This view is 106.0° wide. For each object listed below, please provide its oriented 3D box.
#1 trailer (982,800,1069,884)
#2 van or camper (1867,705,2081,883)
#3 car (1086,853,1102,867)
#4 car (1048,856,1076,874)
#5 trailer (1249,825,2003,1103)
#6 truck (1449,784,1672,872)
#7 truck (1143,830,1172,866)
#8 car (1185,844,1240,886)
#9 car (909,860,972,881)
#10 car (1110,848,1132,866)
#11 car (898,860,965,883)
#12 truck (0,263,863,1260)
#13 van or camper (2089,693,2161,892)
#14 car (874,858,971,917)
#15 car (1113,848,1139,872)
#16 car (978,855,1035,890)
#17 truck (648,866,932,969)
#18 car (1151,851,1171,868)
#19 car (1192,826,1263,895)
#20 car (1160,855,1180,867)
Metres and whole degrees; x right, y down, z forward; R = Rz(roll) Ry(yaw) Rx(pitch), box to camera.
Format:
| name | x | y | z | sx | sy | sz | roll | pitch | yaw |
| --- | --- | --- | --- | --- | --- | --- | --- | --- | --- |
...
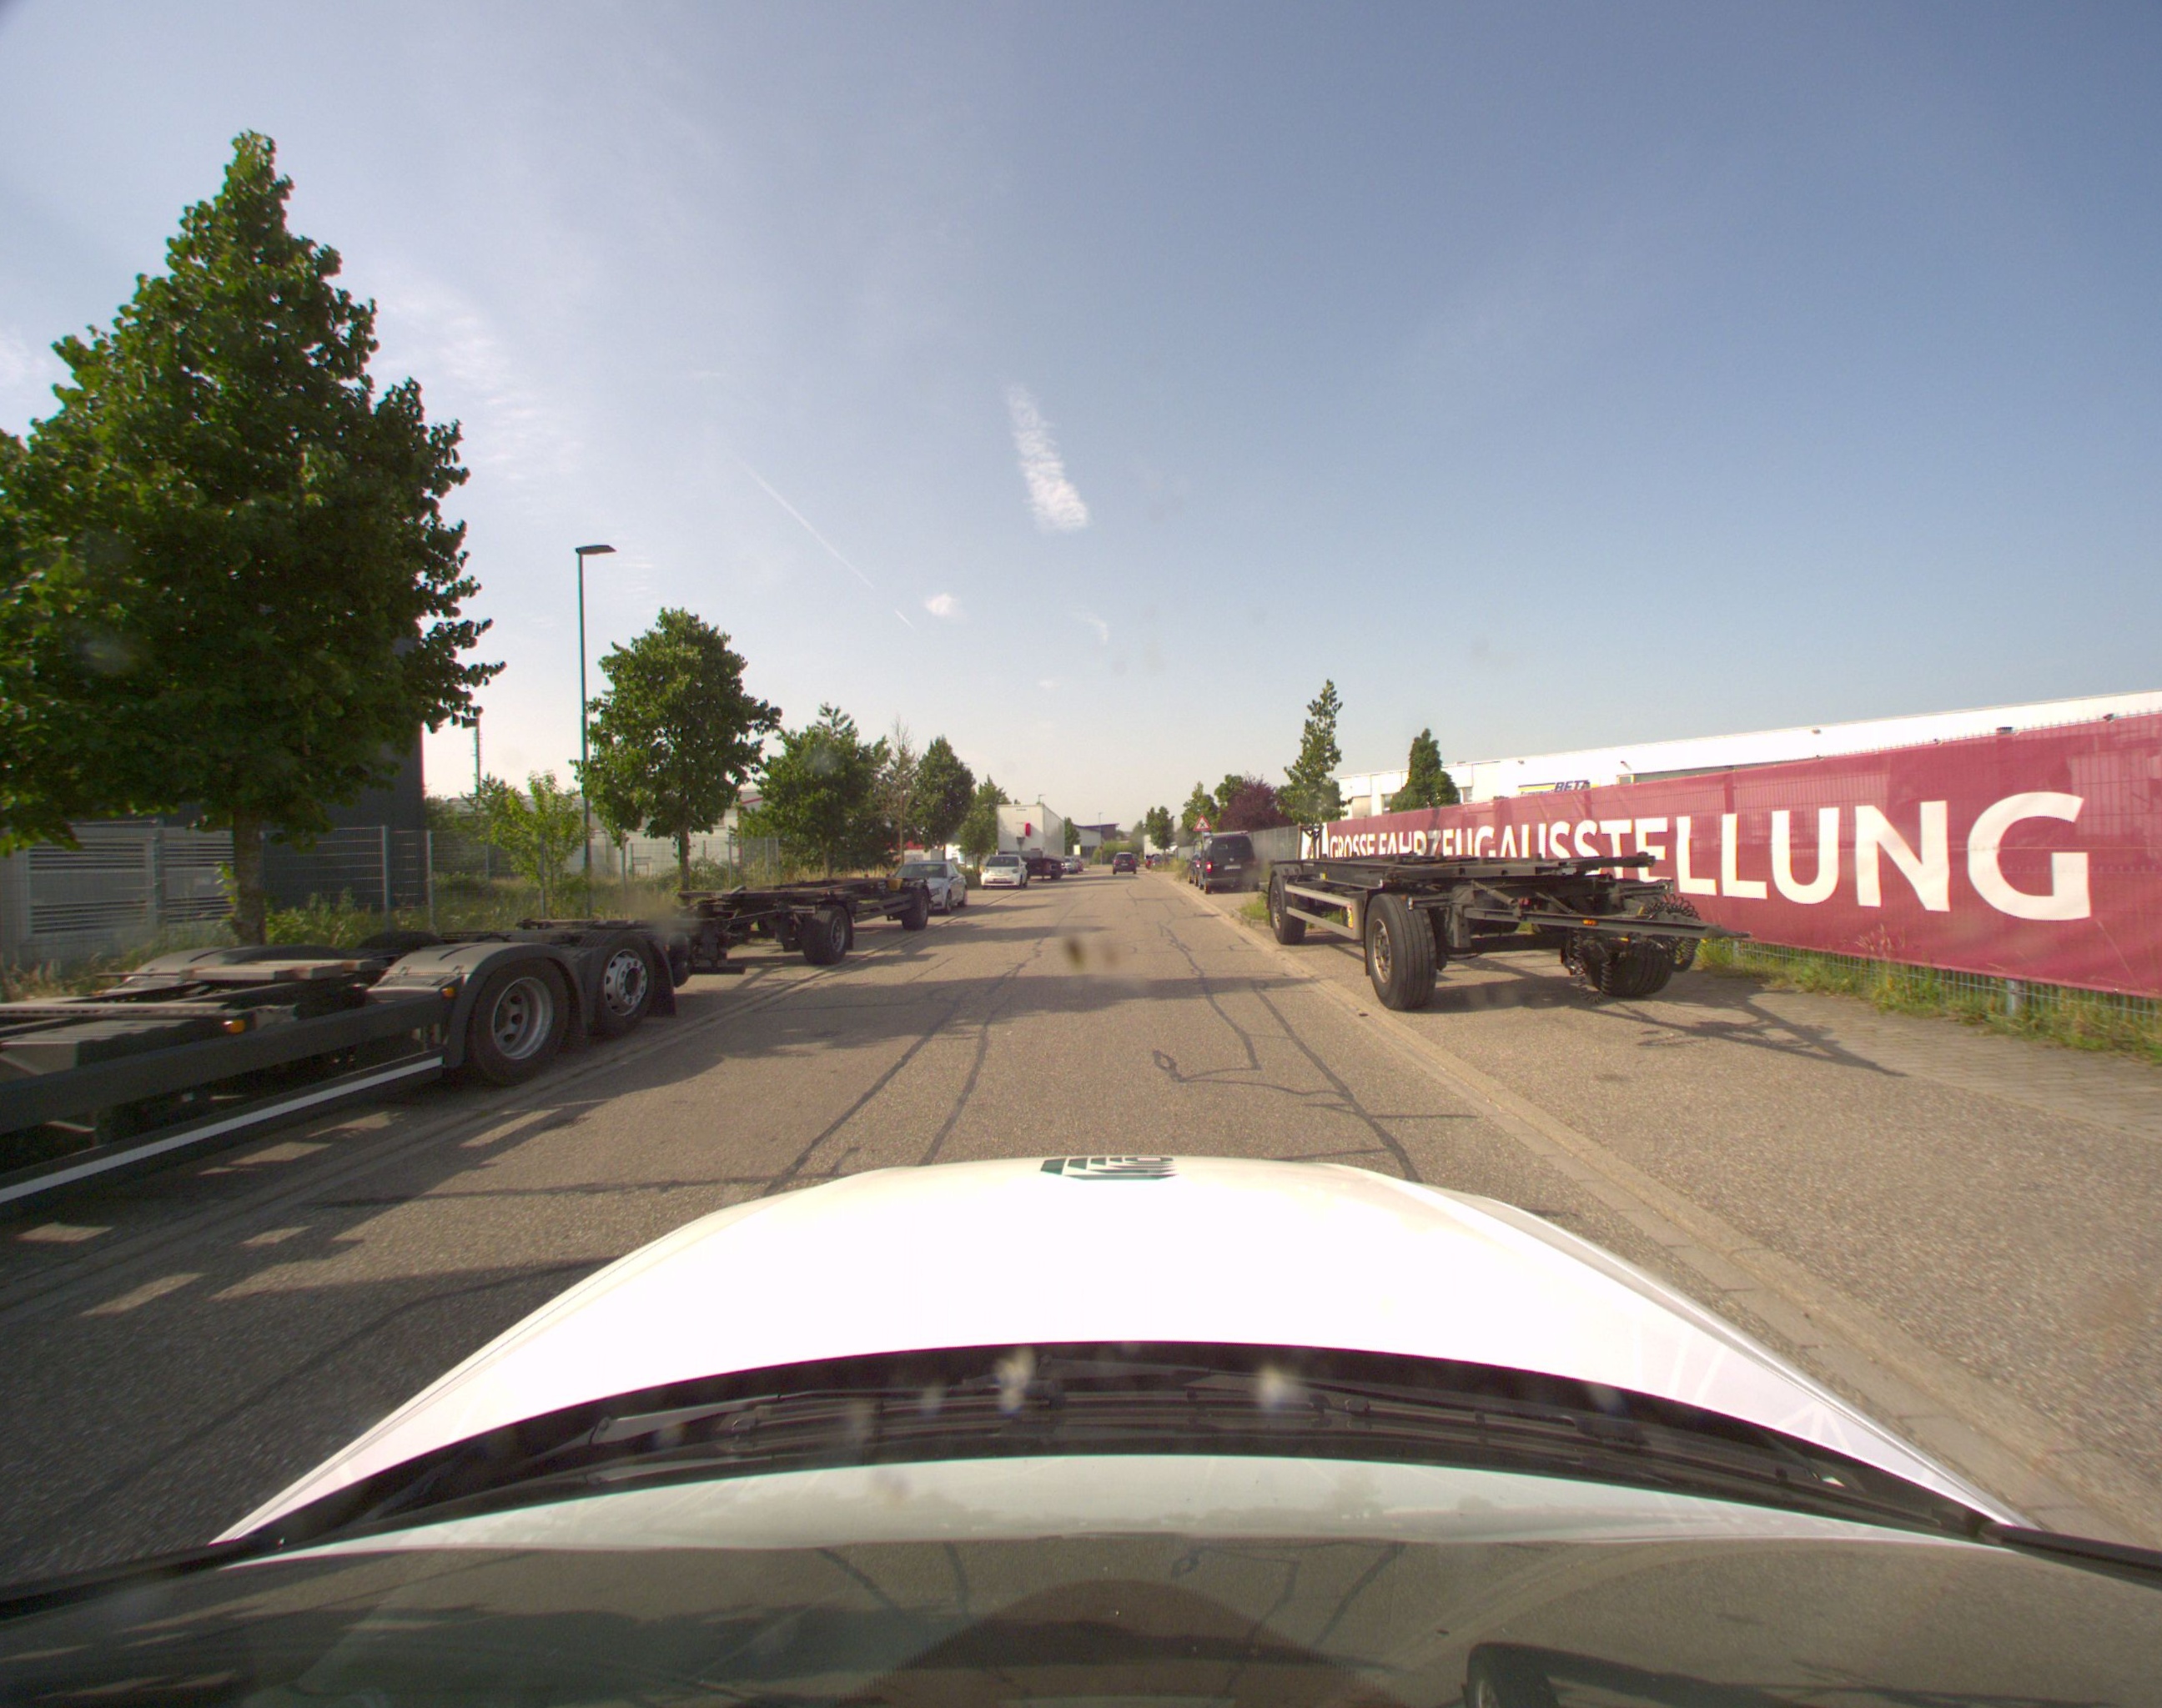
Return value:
| name | x | y | z | sx | sy | sz | roll | pitch | yaw |
| --- | --- | --- | --- | --- | --- | --- | --- | --- | --- |
| trailer | -3.071 | -0.621 | 50.338 | 3.389 | 4.340 | 13.933 | -2 | 0 | 4 |
| van or camper | 19.068 | -1.129 | 17.341 | 6.830 | 3.084 | 2.639 | -2 | 1 | -40 |
| car | 1.731 | 0.766 | 106.630 | 1.985 | 1.772 | 4.003 | -2 | 0 | 3 |
| car | -1.677 | 1.021 | 75.080 | 1.983 | 1.523 | 4.008 | -2 | 0 | 7 |
| trailer | 3.990 | 0.625 | 9.262 | 2.612 | 1.388 | 9.462 | -4 | 0 | 3 |
| truck | 23.606 | -1.110 | 40.680 | 2.473 | 3.972 | 9.199 | -2 | 0 | -44 |
| truck | 8.345 | -0.644 | 89.387 | 2.873 | 3.586 | 8.072 | -3 | 0 | 5 |
| car | 5.217 | 0.406 | 32.695 | 1.810 | 1.449 | 3.806 | -5 | 0 | 5 |
| car | -9.778 | 1.122 | 56.854 | 3.962 | 1.340 | 1.621 | -2 | 0 | 9 |
| car | 4.144 | 0.265 | 83.732 | 1.984 | 1.804 | 4.007 | -2 | 0 | 6 |
| car | -9.945 | 1.151 | 54.270 | 3.962 | 1.340 | 1.621 | -2 | 0 | 9 |
| truck | -5.301 | -0.349 | 6.534 | 2.614 | 3.929 | 12.934 | -1 | 0 | 4 |
| van or camper | 20.480 | -1.082 | 14.389 | 8.014 | 3.084 | 2.773 | -2 | 1 | -43 |
| car | -4.318 | 0.872 | 22.770 | 1.879 | 1.436 | 3.999 | -2 | 0 | 0 |
| car | 3.670 | 0.483 | 65.838 | 1.985 | 1.804 | 4.004 | -2 | 0 | 4 |
| car | -3.245 | 0.777 | 36.127 | 1.802 | 1.427 | 4.005 | -2 | 0 | 5 |
| truck | -4.741 | 0.960 | 14.831 | 2.514 | 1.265 | 6.531 | -2 | 0 | 3 |
| car | 7.709 | 0.487 | 78.592 | 1.810 | 1.449 | 3.806 | -3 | 0 | 5 |
| car | 4.824 | 0.184 | 27.260 | 1.810 | 1.978 | 4.006 | -5 | 0 | 5 |
| car | 13.184 | 1.026 | 120.774 | 1.977 | 1.772 | 4.020 | -2 | 0 | 19 |
